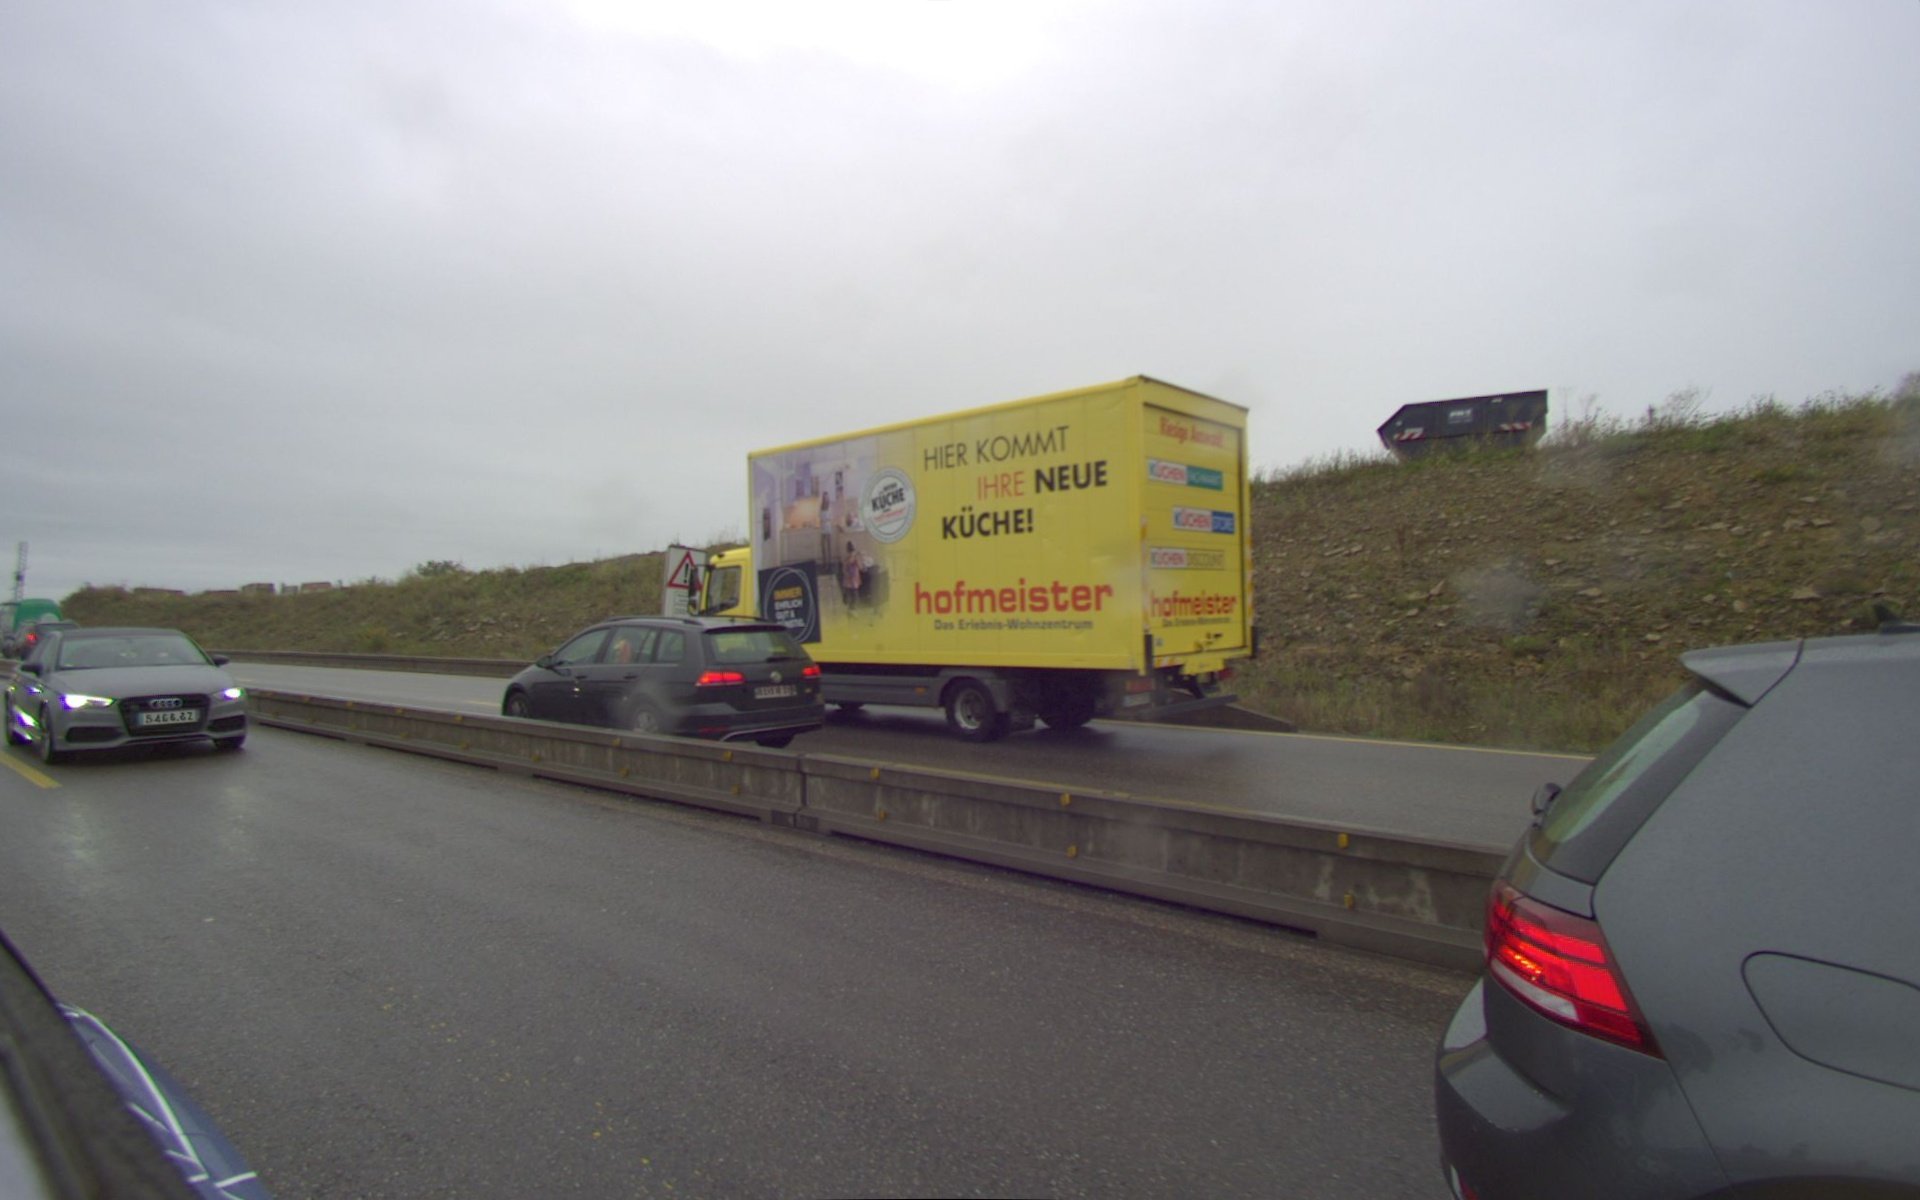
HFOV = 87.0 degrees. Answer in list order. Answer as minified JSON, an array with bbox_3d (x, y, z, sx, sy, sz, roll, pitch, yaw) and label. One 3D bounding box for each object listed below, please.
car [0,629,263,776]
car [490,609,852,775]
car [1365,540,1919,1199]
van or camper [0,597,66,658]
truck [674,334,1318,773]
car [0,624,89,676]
[{"bbox_3d":[-9.874,1.052,11.869,4.084,1.393,1.782,-1,-1,40],"label":"car"},{"bbox_3d":[-3.258,0.859,10.973,4.113,1.417,1.848,-2,0,42],"label":"car"},{"bbox_3d":[2.811,0.677,0.775,4.367,1.518,1.597,-2,-3,42],"label":"car"},{"bbox_3d":[-47.053,1.362,50.672,5.930,2.839,2.082,-2,0,35],"label":"van or camper"},{"bbox_3d":[-0.084,-0.357,13.078,8.417,4.027,2.740,-2,-1,41],"label":"truck"},{"bbox_3d":[-30.979,1.645,34.130,3.995,1.609,1.743,-2,0,39],"label":"car"}]
